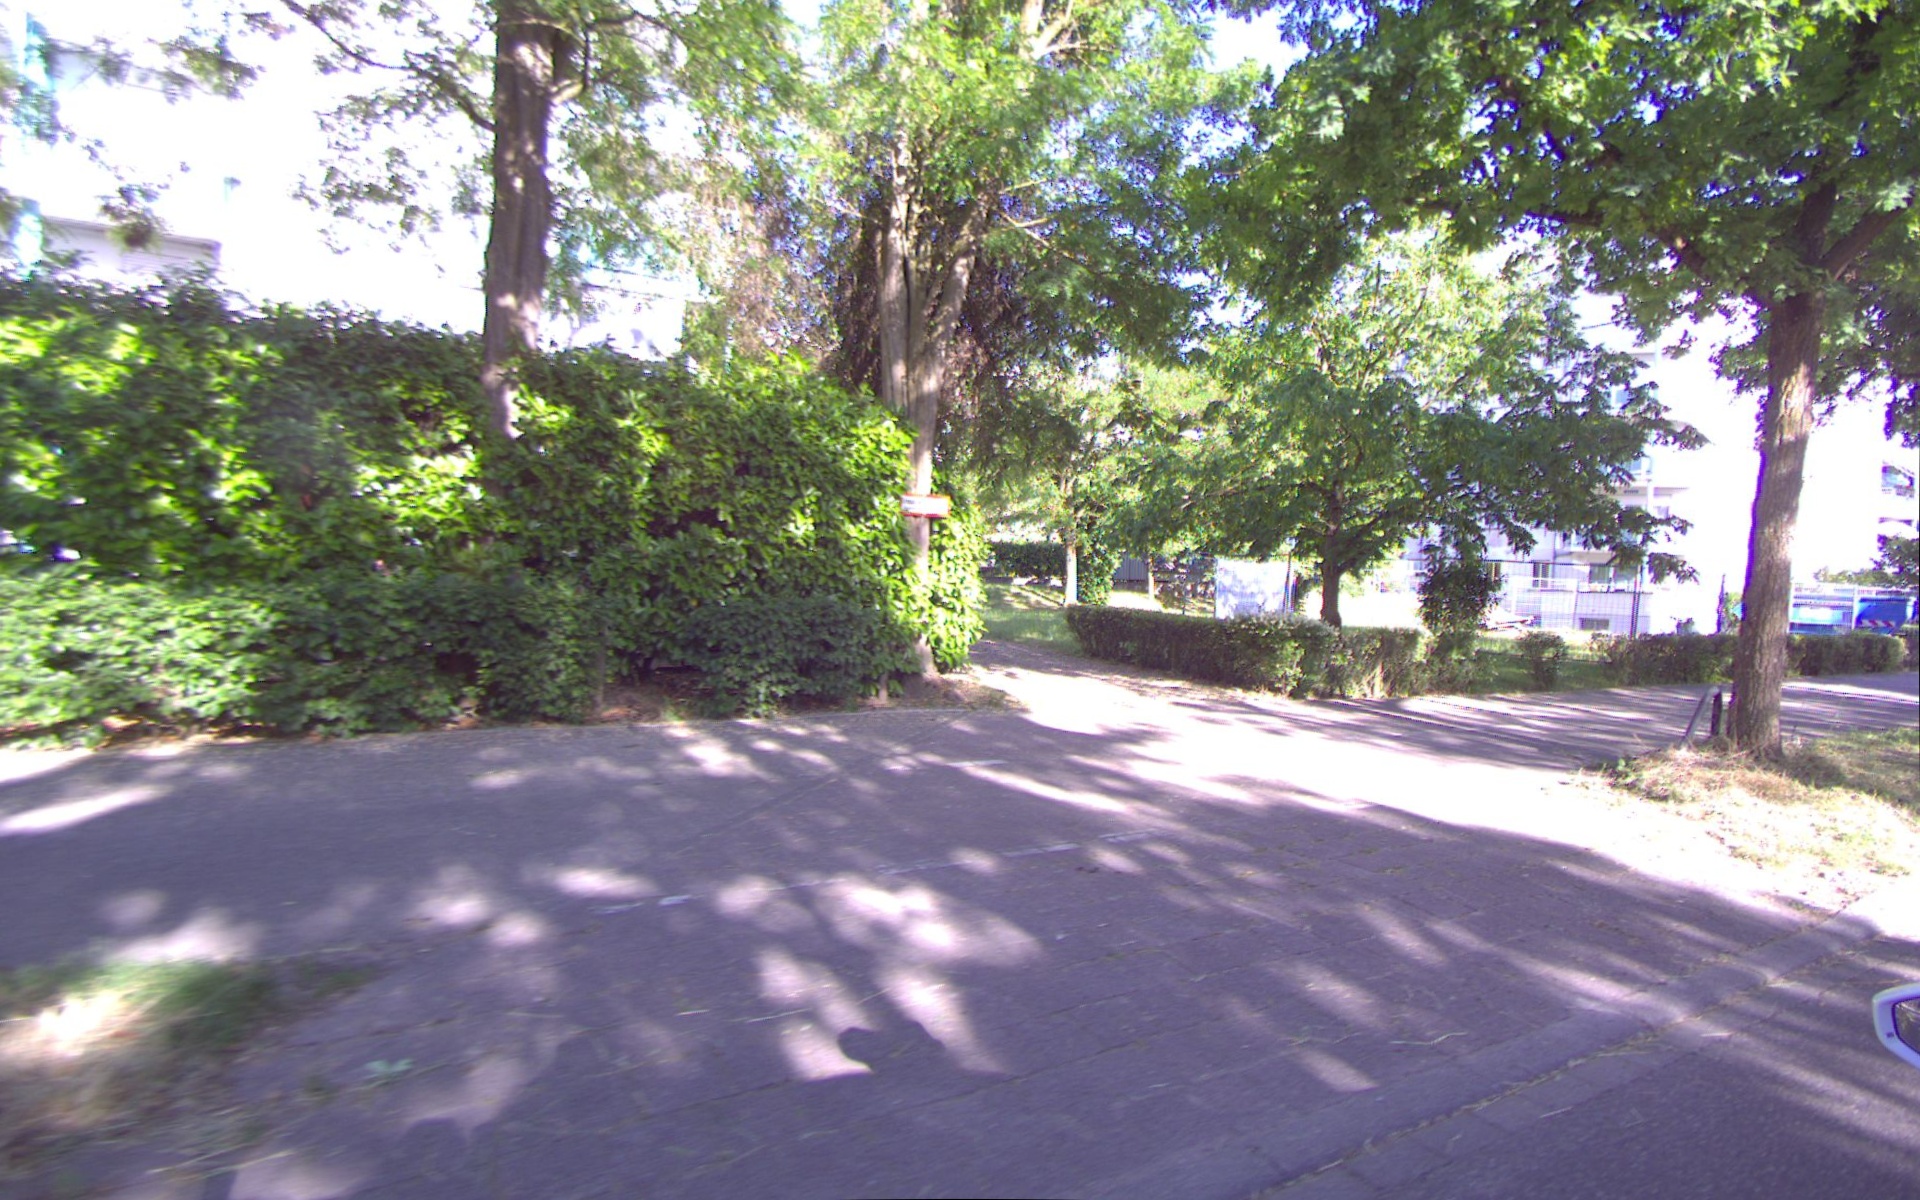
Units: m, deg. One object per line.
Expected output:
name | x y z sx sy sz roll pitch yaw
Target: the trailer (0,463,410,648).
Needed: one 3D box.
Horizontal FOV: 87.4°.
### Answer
trailer | -9.700 -0.493 12.967 4.370 2.070 1.970 2 1 -25
